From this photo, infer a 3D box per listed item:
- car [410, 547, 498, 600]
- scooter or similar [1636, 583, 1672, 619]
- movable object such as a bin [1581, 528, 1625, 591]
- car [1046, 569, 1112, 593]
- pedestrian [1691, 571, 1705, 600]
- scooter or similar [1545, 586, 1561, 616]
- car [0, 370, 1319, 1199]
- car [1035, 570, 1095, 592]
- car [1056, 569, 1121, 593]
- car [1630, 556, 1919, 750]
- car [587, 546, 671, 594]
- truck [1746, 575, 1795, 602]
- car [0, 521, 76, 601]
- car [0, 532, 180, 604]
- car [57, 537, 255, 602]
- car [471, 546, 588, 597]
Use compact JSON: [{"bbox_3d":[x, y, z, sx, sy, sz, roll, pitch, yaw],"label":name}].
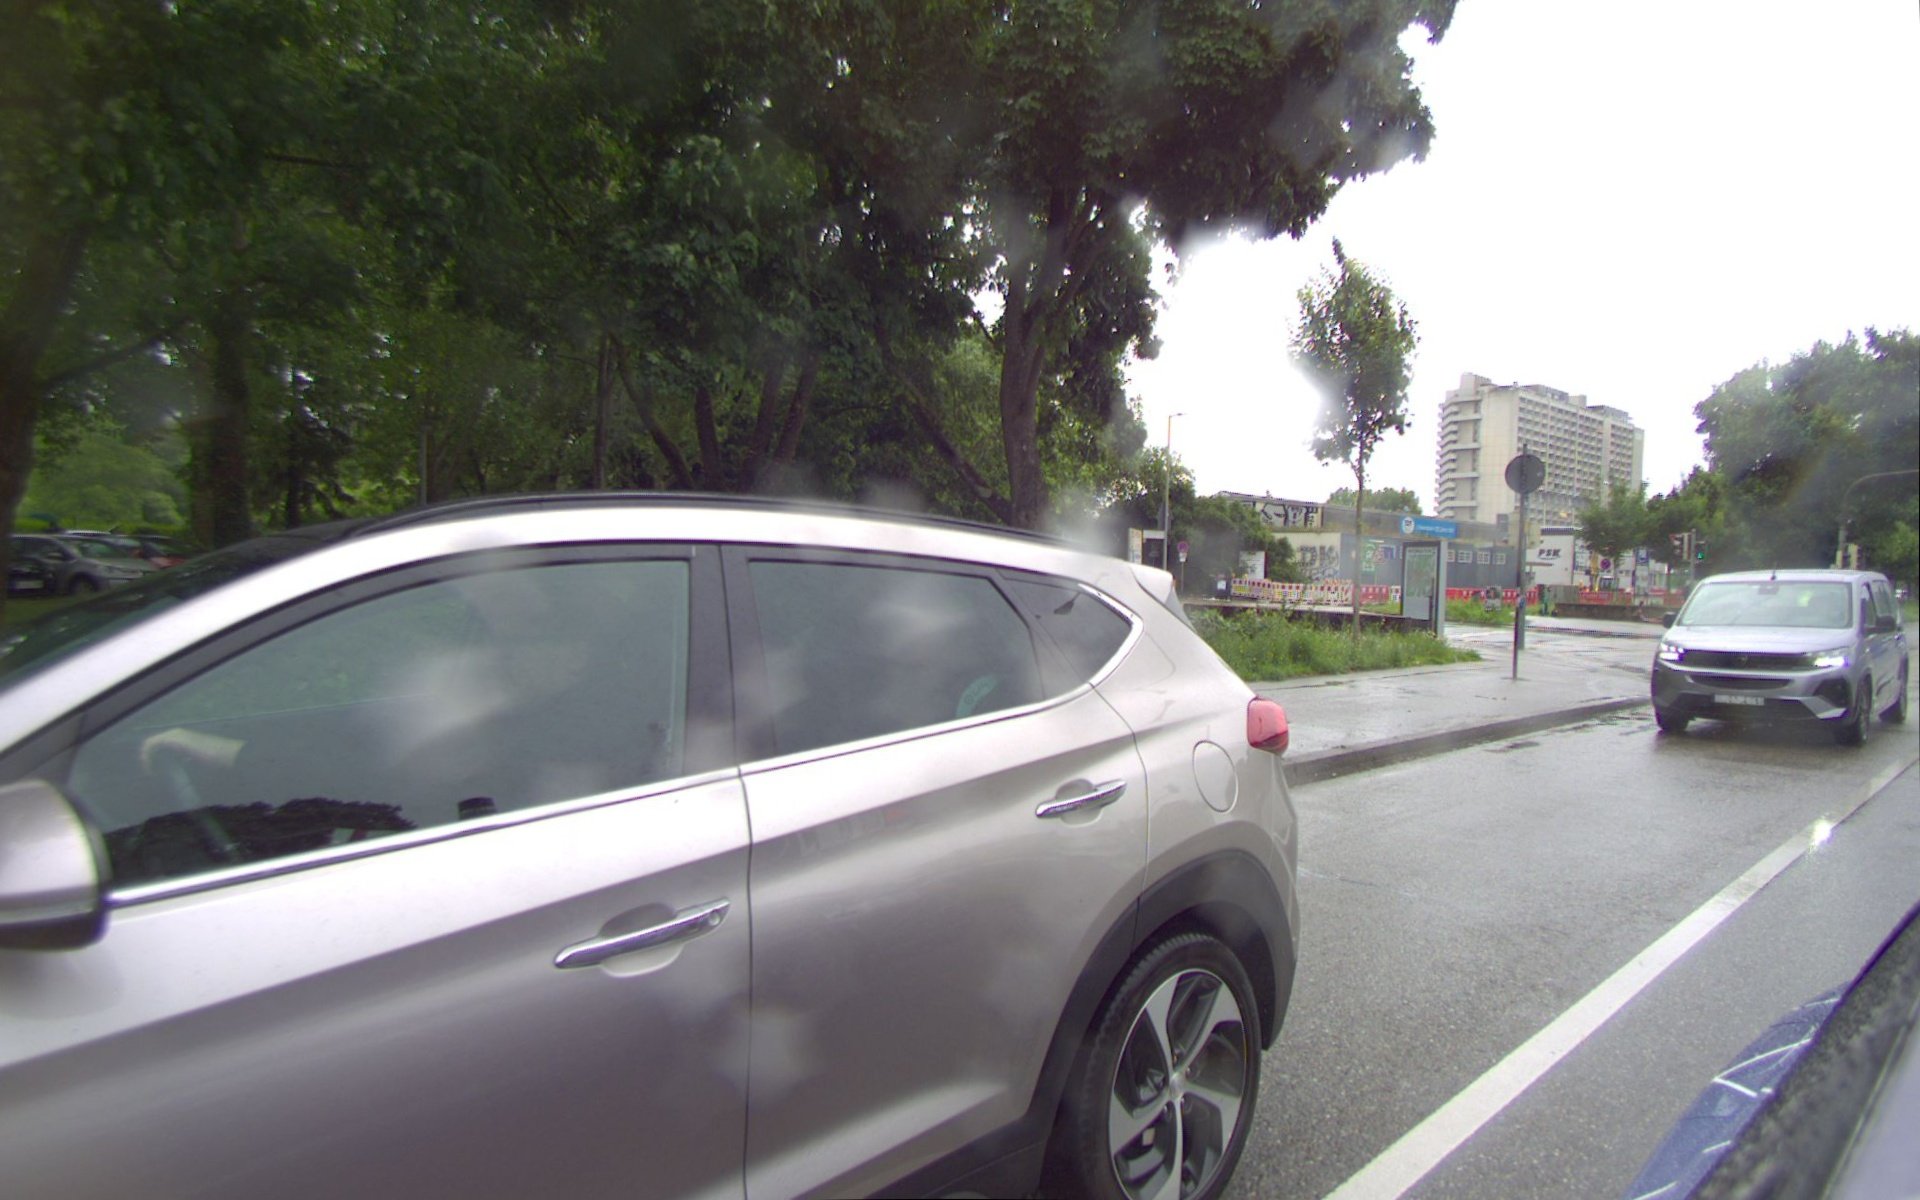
[{"bbox_3d":[-15.112,-0.765,30.133,1.639,1.467,3.719,-1,1,-38],"label":"car"},{"bbox_3d":[25.824,0.042,37.658,0.315,1.244,0.961,1,5,-34],"label":"scooter or similar"},{"bbox_3d":[46.852,-2.903,73.721,3.838,4.481,1.557,-1,1,-38],"label":"movable object such as a bin"},{"bbox_3d":[8.135,-1.304,69.414,4.123,1.592,1.810,0,1,-14],"label":"car"},{"bbox_3d":[49.867,-0.963,68.399,0.861,1.920,0.580,-1,1,-40],"label":"pedestrian"},{"bbox_3d":[24.018,0.046,40.992,0.549,1.191,0.286,1,2,-33],"label":"scooter or similar"},{"bbox_3d":[-1.188,0.549,2.127,4.123,1.630,1.888,-1,2,-41],"label":"car"},{"bbox_3d":[7.418,-1.341,71.521,3.916,1.529,1.706,0,1,-14],"label":"car"},{"bbox_3d":[8.540,-1.270,67.476,3.916,1.529,1.706,0,1,-14],"label":"car"},{"bbox_3d":[9.630,0.453,11.741,4.483,1.818,1.997,-1,1,-41],"label":"car"},{"bbox_3d":[-11.434,-1.011,34.794,1.846,1.544,4.003,-1,1,-32],"label":"car"},{"bbox_3d":[92.638,-1.354,115.567,8.597,2.935,2.809,-1,1,-40],"label":"truck"},{"bbox_3d":[-19.375,-0.716,19.241,3.680,1.467,1.670,0,1,-1],"label":"car"},{"bbox_3d":[-19.102,-0.661,21.723,3.689,1.467,1.666,0,1,8],"label":"car"},{"bbox_3d":[-19.063,-0.705,24.059,3.689,1.467,1.600,0,1,8],"label":"car"},{"bbox_3d":[-13.578,-0.867,31.728,2.128,1.467,5.414,-1,1,-37],"label":"car"}]
